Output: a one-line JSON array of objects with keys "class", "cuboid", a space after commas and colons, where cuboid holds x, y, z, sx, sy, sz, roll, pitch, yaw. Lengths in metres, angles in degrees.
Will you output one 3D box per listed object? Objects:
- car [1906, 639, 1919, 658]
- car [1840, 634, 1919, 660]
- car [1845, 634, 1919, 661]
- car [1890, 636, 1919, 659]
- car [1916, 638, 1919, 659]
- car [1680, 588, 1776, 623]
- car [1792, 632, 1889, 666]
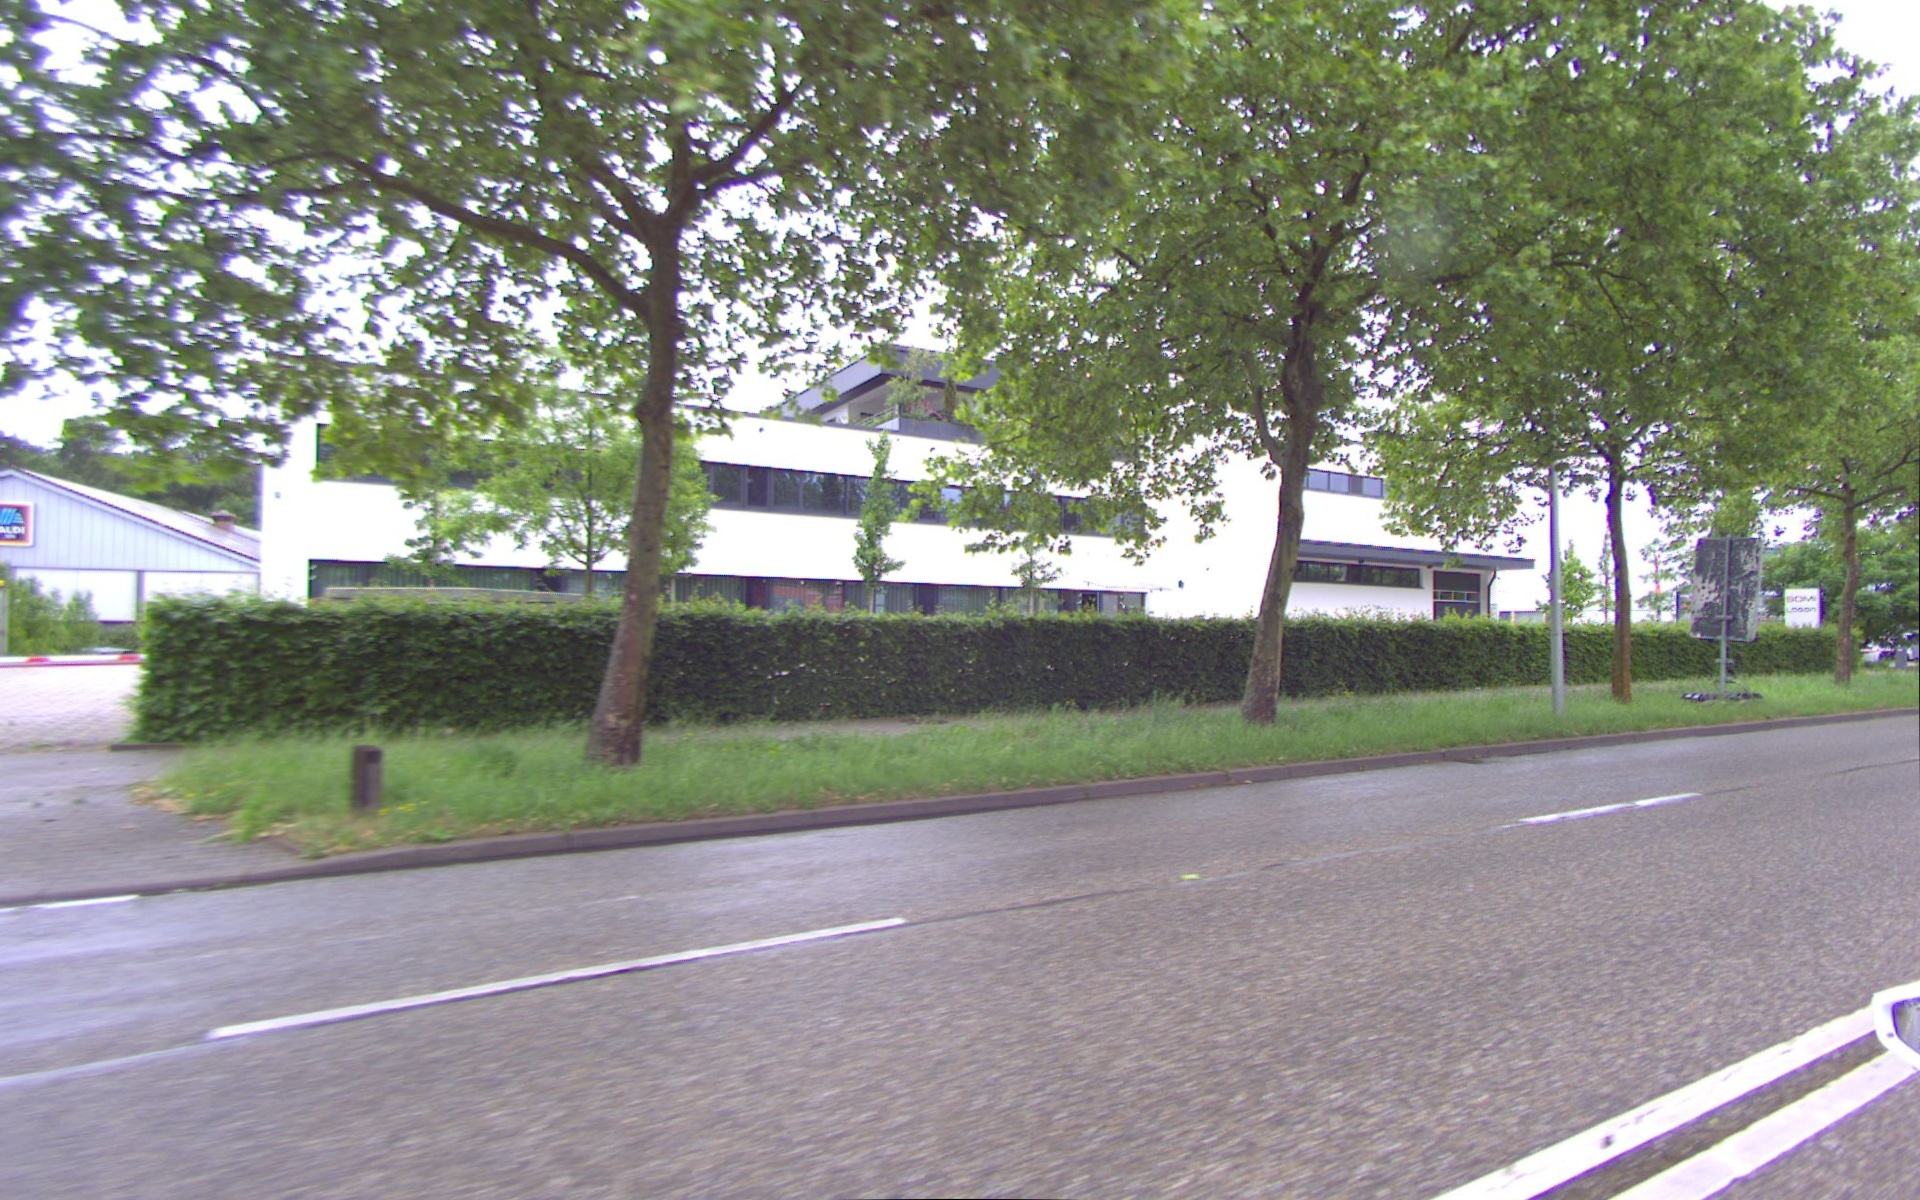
[{"class": "car", "cuboid": [78.064, 3.856, 79.676, 1.834, 1.540, 3.988, 1, -2, -15]}, {"class": "car", "cuboid": [65.662, 3.317, 71.643, 1.862, 1.790, 3.965, 1, -2, -32]}, {"class": "car", "cuboid": [68.692, 3.452, 73.581, 2.390, 1.928, 5.344, 1, -2, -33]}, {"class": "car", "cuboid": [75.729, 3.751, 78.571, 1.834, 1.790, 3.988, 1, -2, -15]}, {"class": "car", "cuboid": [80.184, 3.960, 81.090, 1.833, 1.790, 3.989, 1, -2, -14]}, {"class": "car", "cuboid": [43.857, 0.372, 57.446, 1.939, 1.914, 3.970, 1, -2, -29]}, {"class": "car", "cuboid": [42.362, 2.335, 48.296, 5.188, 1.516, 2.107, 2, -2, -32]}]
